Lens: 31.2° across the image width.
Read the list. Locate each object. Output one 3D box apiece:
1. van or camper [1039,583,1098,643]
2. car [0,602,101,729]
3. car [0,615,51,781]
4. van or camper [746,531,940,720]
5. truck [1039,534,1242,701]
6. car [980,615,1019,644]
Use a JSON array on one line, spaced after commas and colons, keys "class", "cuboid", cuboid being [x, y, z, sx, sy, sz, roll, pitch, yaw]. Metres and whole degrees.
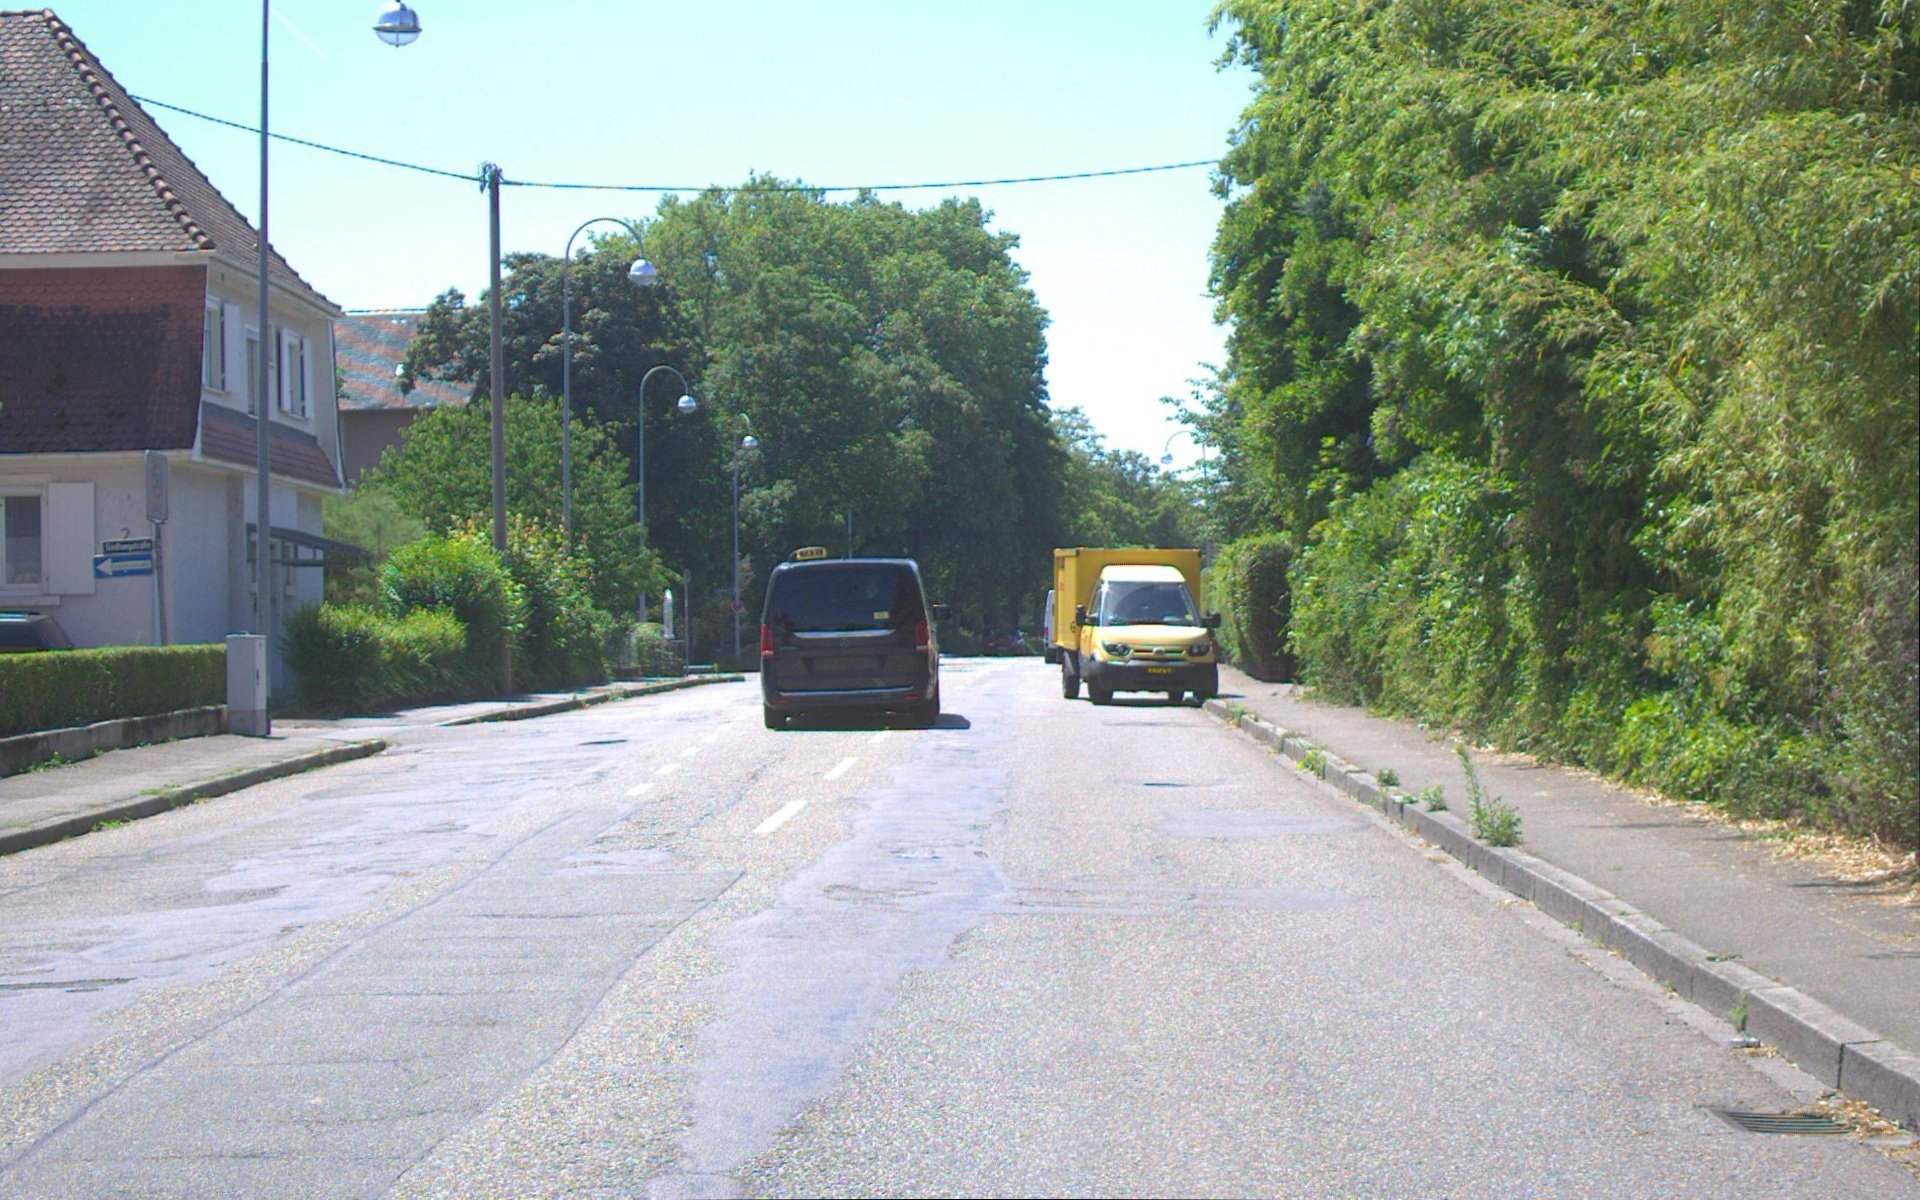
[{"class": "van or camper", "cuboid": [3.753, 0.446, 119.707, 1.993, 2.007, 4.000, -1, 0, 1]}, {"class": "car", "cuboid": [-13.684, 0.905, 45.960, 3.867, 1.636, 1.880, -2, 0, 1]}, {"class": "car", "cuboid": [-12.940, 1.189, 40.599, 3.867, 1.898, 1.880, -2, 0, 1]}, {"class": "van or camper", "cuboid": [-1.258, 0.273, 39.005, 1.903, 2.007, 5.270, 0, 0, 1]}, {"class": "truck", "cuboid": [2.550, 0.251, 50.335, 2.355, 2.251, 6.092, -1, 0, -2]}, {"class": "car", "cuboid": [2.072, 1.546, 179.295, 1.548, 1.444, 3.004, -1, 0, 10]}]
